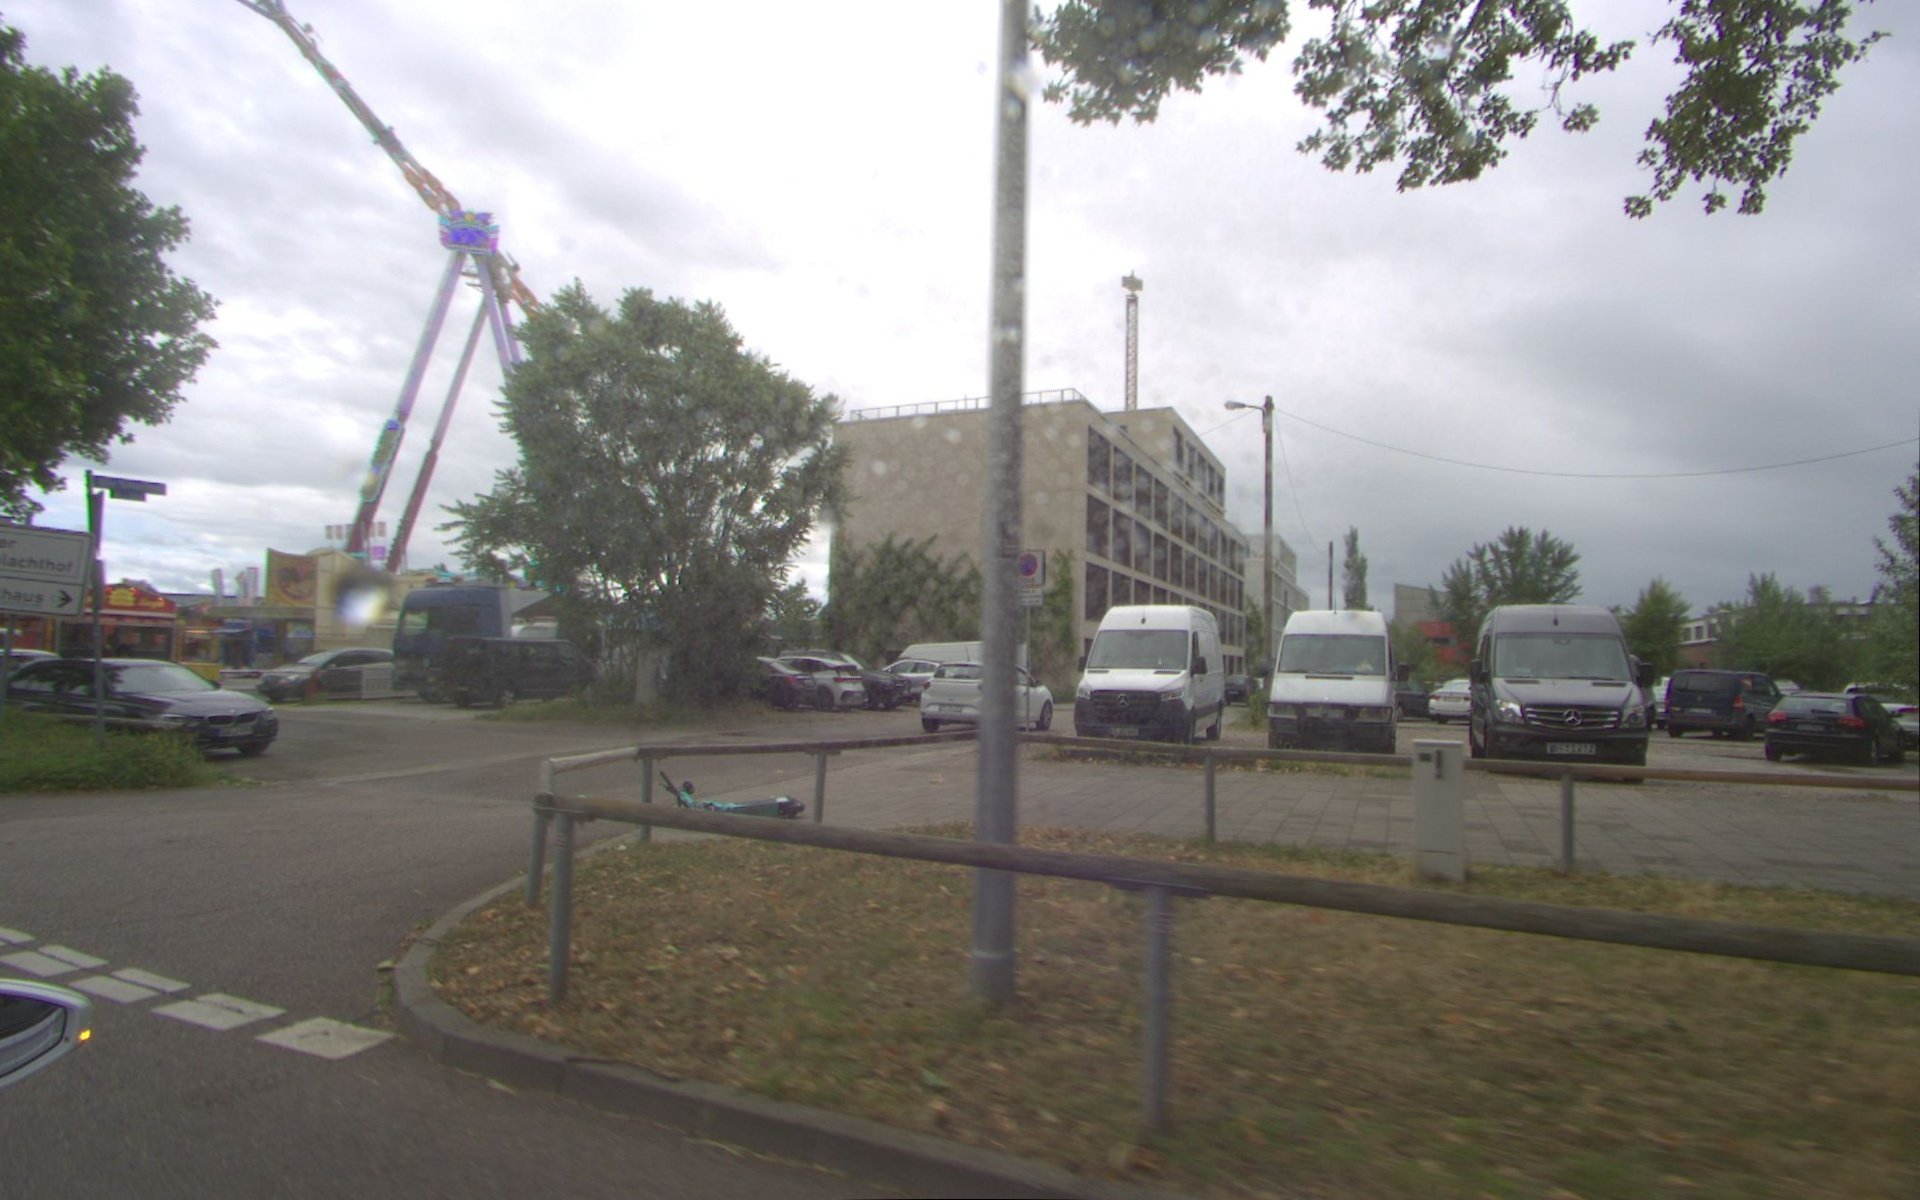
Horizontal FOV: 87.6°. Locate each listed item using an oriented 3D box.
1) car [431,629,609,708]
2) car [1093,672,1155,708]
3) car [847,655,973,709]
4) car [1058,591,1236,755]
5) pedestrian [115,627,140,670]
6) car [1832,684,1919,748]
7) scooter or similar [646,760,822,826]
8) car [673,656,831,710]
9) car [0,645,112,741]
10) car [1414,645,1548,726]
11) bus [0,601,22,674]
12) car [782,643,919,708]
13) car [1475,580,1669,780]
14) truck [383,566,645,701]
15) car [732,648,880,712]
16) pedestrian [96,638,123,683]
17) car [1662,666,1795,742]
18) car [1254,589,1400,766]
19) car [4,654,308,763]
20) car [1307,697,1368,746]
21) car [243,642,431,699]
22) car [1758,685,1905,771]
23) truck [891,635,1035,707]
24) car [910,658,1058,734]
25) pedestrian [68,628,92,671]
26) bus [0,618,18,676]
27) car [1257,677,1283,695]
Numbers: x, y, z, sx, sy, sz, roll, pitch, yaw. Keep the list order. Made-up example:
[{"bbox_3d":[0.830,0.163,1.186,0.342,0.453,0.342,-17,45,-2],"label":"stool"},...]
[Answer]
[{"bbox_3d":[-12.602,1.931,29.030,1.966,2.039,4.578,1,-2,23],"label":"car"},{"bbox_3d":[7.226,3.896,43.877,1.859,1.470,3.994,-1,-4,22],"label":"car"},{"bbox_3d":[-1.747,2.844,35.006,3.932,1.664,1.888,1,-3,23],"label":"car"},{"bbox_3d":[3.759,1.354,18.993,2.065,2.586,6.032,-1,-4,23],"label":"car"},{"bbox_3d":[-32.997,1.931,39.694,0.485,1.707,0.524,0,-3,9],"label":"pedestrian"},{"bbox_3d":[24.894,3.050,26.811,3.964,1.537,1.981,4,-5,-44],"label":"car"},{"bbox_3d":[-2.166,1.812,9.548,1.168,0.353,1.320,2,-3,-41],"label":"scooter or similar"},{"bbox_3d":[-5.794,2.309,27.945,3.933,1.365,1.890,-1,-6,23],"label":"car"},{"bbox_3d":[-17.648,1.640,18.318,3.937,1.613,1.864,-1,-4,27],"label":"car"},{"bbox_3d":[16.664,2.697,31.945,4.667,2.372,1.986,3,-4,-37],"label":"car"},{"bbox_3d":[-41.623,1.281,37.619,1.966,2.995,9.293,0,-4,22],"label":"bus"},{"bbox_3d":[-3.529,2.399,32.217,3.933,1.902,1.888,0,-3,24],"label":"car"},{"bbox_3d":[9.387,1.305,15.838,2.136,2.551,5.792,0,-6,27],"label":"car"},{"bbox_3d":[-14.180,1.229,32.831,2.557,3.869,8.202,-1,-4,23],"label":"truck"},{"bbox_3d":[-4.609,2.383,30.017,3.932,1.664,1.889,1,-4,23],"label":"car"},{"bbox_3d":[-32.870,2.344,38.707,0.485,1.707,0.524,0,-3,9],"label":"pedestrian"},{"bbox_3d":[21.754,2.888,28.309,3.953,1.971,1.986,3,-4,-37],"label":"car"},{"bbox_3d":[6.616,1.421,17.599,2.006,2.564,5.796,-1,-6,24],"label":"car"},{"bbox_3d":[-12.256,1.583,15.299,3.931,1.448,1.867,-1,-4,21],"label":"car"},{"bbox_3d":[13.436,4.248,35.513,1.860,1.470,3.992,-1,-4,23],"label":"car"},{"bbox_3d":[-19.073,2.163,30.913,1.967,1.594,4.580,-1,-4,23],"label":"car"},{"bbox_3d":[18.223,2.577,20.877,3.964,1.537,1.981,4,-5,-44],"label":"car"},{"bbox_3d":[0.100,2.970,42.785,5.766,2.761,2.048,1,-3,28],"label":"truck"},{"bbox_3d":[0.622,2.026,21.818,1.860,1.470,3.992,-1,-4,23],"label":"car"},{"bbox_3d":[-35.189,1.992,40.042,0.515,1.707,0.493,0,-3,22],"label":"pedestrian"},{"bbox_3d":[-39.473,1.549,35.157,1.966,2.254,9.293,-1,-4,22],"label":"bus"},{"bbox_3d":[26.610,7.327,85.865,1.859,1.470,3.994,-1,-4,22],"label":"car"}]
